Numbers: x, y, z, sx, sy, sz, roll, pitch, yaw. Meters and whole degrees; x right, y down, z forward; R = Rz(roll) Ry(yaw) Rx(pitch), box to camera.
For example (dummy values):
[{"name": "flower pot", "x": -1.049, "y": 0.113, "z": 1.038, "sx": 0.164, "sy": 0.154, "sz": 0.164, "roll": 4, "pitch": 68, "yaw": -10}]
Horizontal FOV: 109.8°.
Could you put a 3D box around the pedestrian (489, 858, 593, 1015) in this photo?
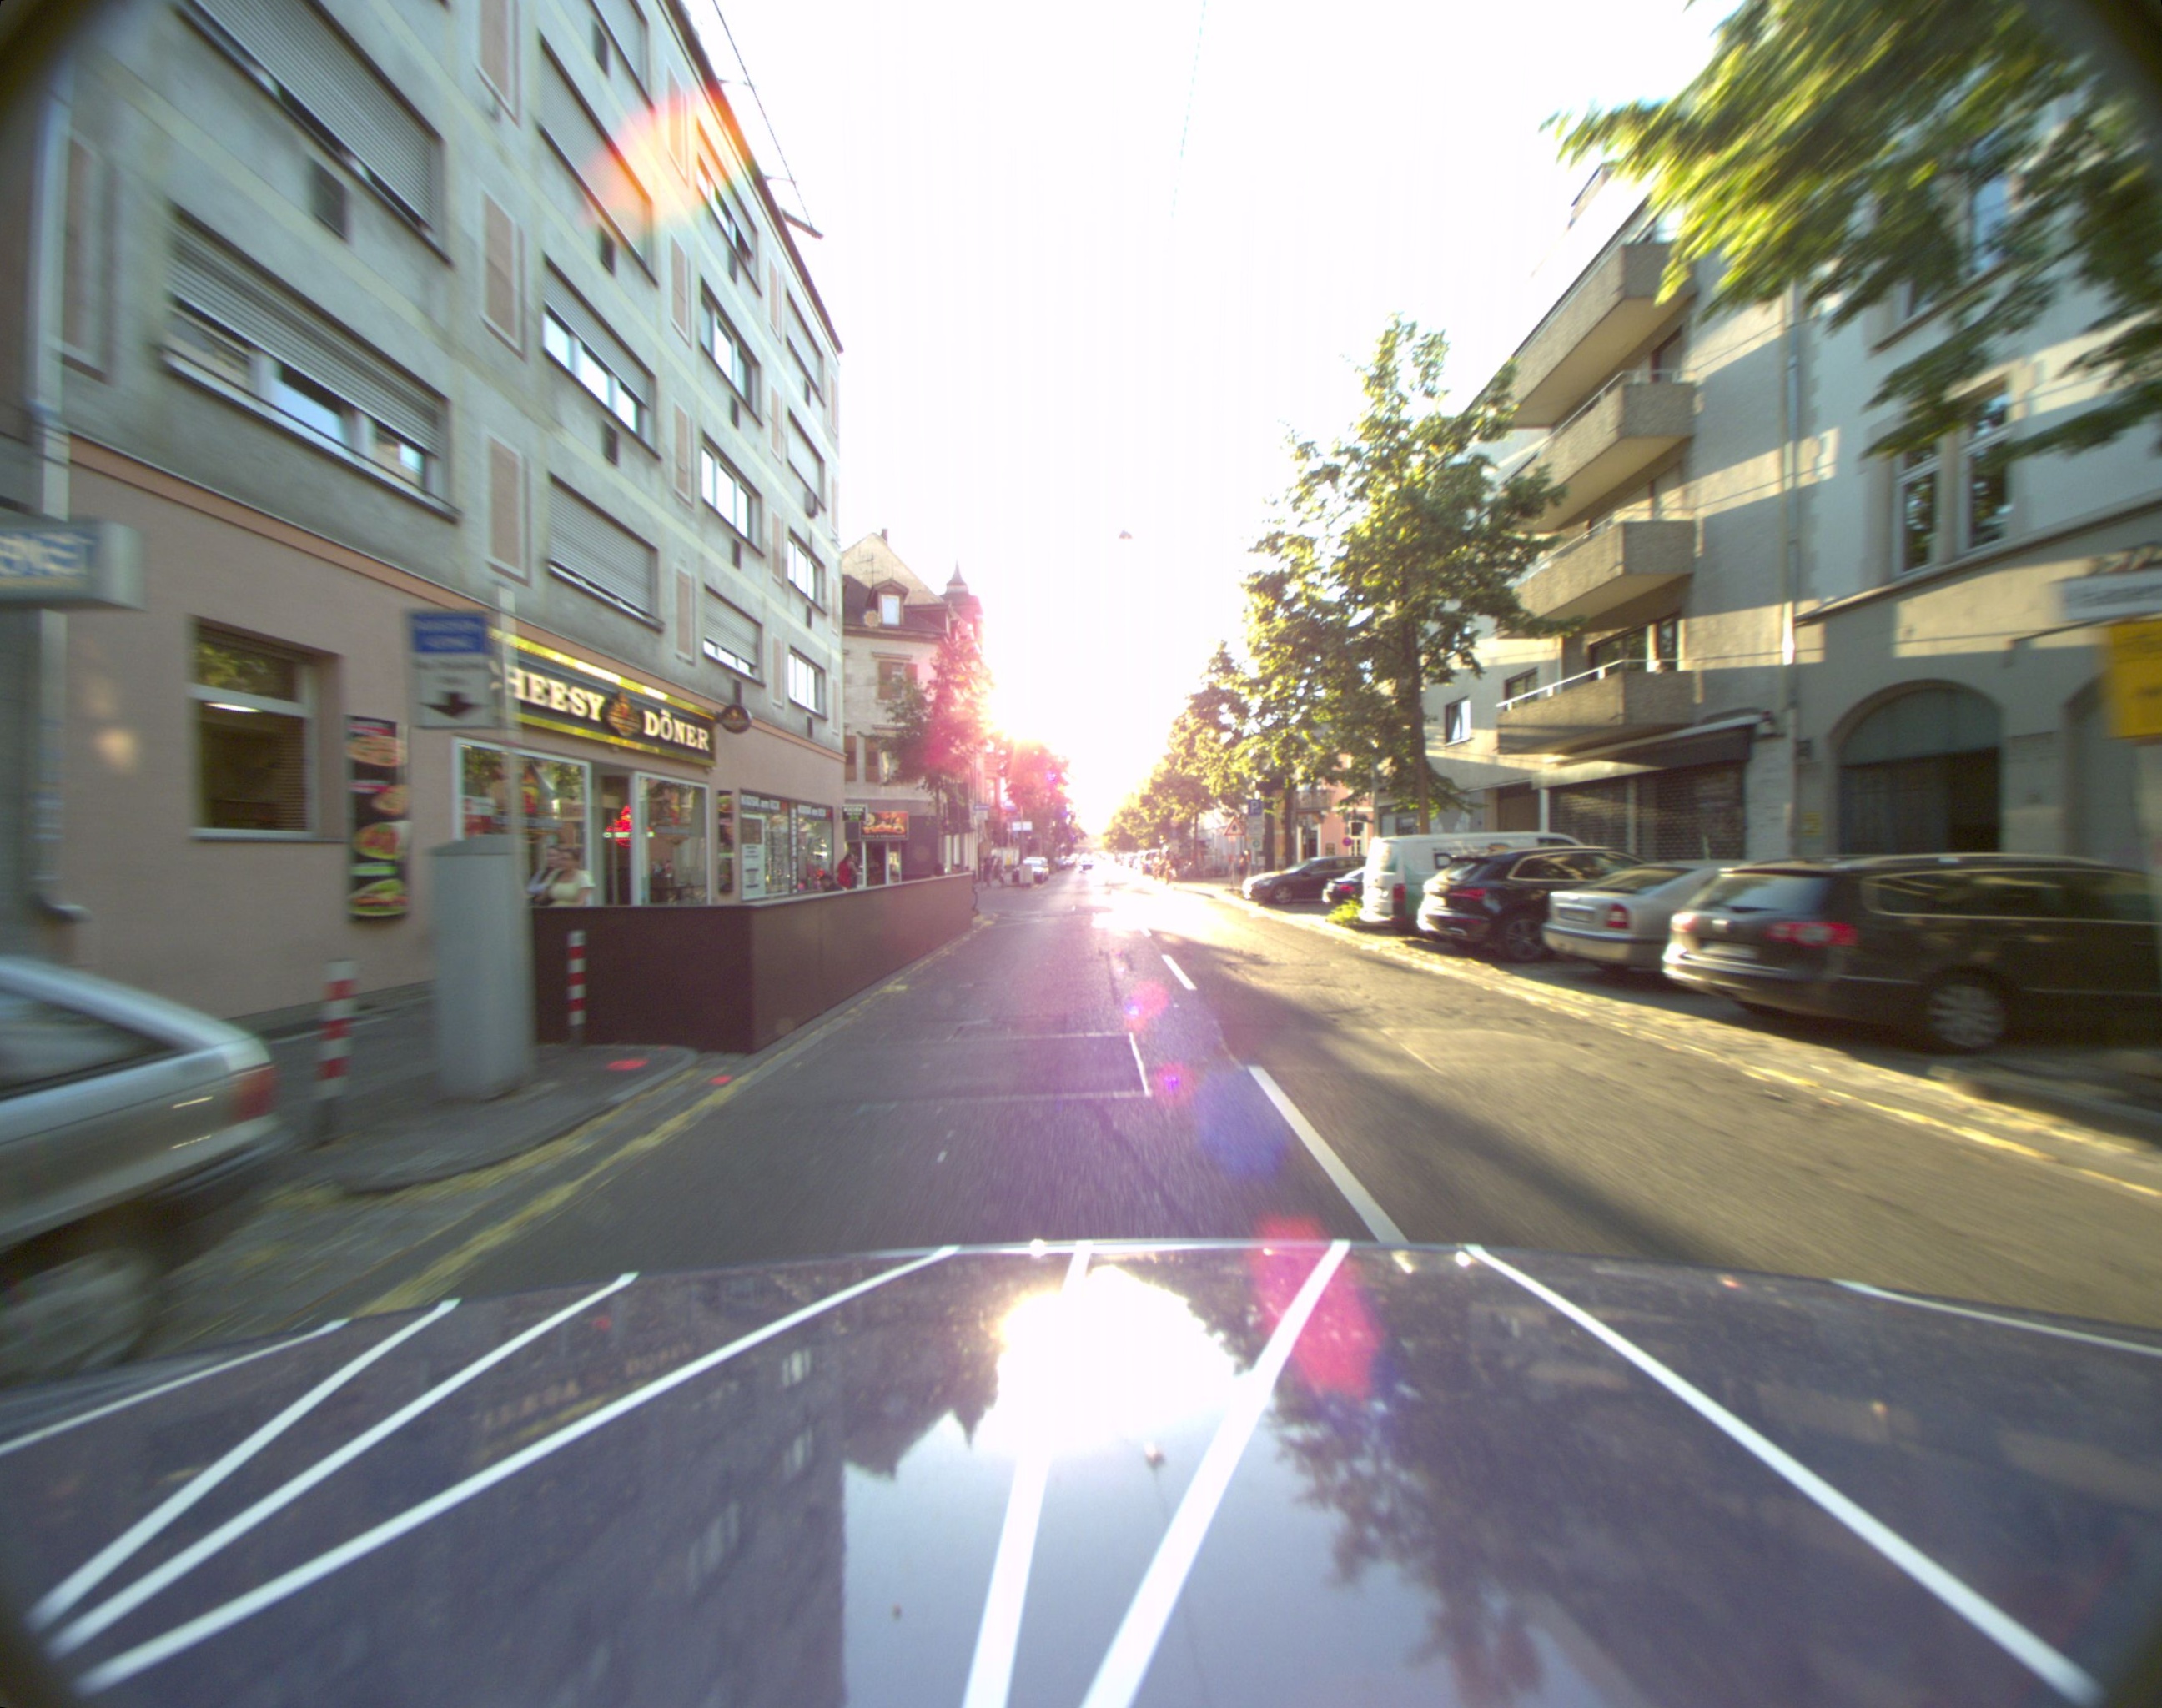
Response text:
[{"name": "pedestrian", "x": -5.803, "y": 0.856, "z": 8.202, "sx": 0.607, "sy": 1.622, "sz": 0.668, "roll": -1, "pitch": 1, "yaw": 0}]

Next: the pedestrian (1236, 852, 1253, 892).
[{"name": "pedestrian", "x": 6.782, "y": 0.745, "z": 31.551, "sx": 0.550, "sy": 1.638, "sz": 0.721, "roll": -1, "pitch": 1, "yaw": 3}]

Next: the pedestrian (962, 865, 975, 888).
[{"name": "pedestrian", "x": -5.781, "y": 1.146, "z": 39.100, "sx": 0.551, "sy": 1.128, "sz": 0.648, "roll": 1, "pitch": 1, "yaw": 1}]

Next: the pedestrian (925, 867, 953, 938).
[{"name": "pedestrian", "x": -3.015, "y": 1.020, "z": 16.189, "sx": 0.448, "sy": 1.472, "sz": 0.547, "roll": 1, "pitch": 1, "yaw": 1}]

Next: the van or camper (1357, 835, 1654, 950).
[{"name": "van or camper", "x": 7.662, "y": 0.668, "z": 14.060, "sx": 4.469, "sy": 1.945, "sz": 1.789, "roll": -1, "pitch": 0, "yaw": 2}]

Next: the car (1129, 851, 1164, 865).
[{"name": "car", "x": 8.133, "y": 0.485, "z": 94.331, "sx": 4.152, "sy": 1.771, "sz": 1.826, "roll": -1, "pitch": 0, "yaw": 0}]

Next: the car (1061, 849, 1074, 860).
[{"name": "car", "x": -2.051, "y": 0.120, "z": 117.833, "sx": 1.825, "sy": 1.658, "sz": 4.155, "roll": -1, "pitch": 1, "yaw": 1}]

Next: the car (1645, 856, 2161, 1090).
[{"name": "car", "x": 7.439, "y": 0.865, "z": 6.289, "sx": 4.193, "sy": 1.528, "sz": 1.744, "roll": -2, "pitch": 1, "yaw": 2}]

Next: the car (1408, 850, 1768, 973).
[{"name": "car", "x": 7.369, "y": 0.799, "z": 11.390, "sx": 4.193, "sy": 1.659, "sz": 1.732, "roll": -1, "pitch": 1, "yaw": 3}]

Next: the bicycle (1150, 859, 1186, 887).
[{"name": "bicycle", "x": 4.302, "y": 0.944, "z": 37.660, "sx": 1.832, "sy": 1.335, "sz": 0.405, "roll": -1, "pitch": 1, "yaw": -25}]

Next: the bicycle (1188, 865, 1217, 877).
[{"name": "bicycle", "x": 7.930, "y": 1.111, "z": 49.596, "sx": 1.796, "sy": 0.761, "sz": 0.408, "roll": -1, "pitch": 1, "yaw": 13}]

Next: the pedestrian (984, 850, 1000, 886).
[{"name": "pedestrian", "x": -4.785, "y": 0.752, "z": 40.815, "sx": 0.719, "sy": 1.864, "sz": 0.756, "roll": 1, "pitch": 1, "yaw": 1}]

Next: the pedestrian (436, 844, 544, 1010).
[{"name": "pedestrian", "x": -6.424, "y": 0.765, "z": 8.291, "sx": 0.607, "sy": 1.728, "sz": 0.668, "roll": -1, "pitch": 1, "yaw": 0}]

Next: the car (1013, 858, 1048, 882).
[{"name": "car", "x": -3.090, "y": 0.979, "z": 47.301, "sx": 1.825, "sy": 1.344, "sz": 4.155, "roll": -1, "pitch": 1, "yaw": 1}]

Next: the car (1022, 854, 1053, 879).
[{"name": "car", "x": -3.050, "y": 0.859, "z": 54.069, "sx": 1.825, "sy": 1.658, "sz": 4.155, "roll": -1, "pitch": 1, "yaw": 1}]

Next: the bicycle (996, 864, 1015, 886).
[{"name": "bicycle", "x": -3.979, "y": 1.104, "z": 40.088, "sx": 0.478, "sy": 1.101, "sz": 2.062, "roll": -1, "pitch": 0, "yaw": 8}]

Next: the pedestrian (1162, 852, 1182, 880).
[{"name": "pedestrian", "x": 5.616, "y": 0.722, "z": 46.833, "sx": 0.898, "sy": 1.671, "sz": 0.795, "roll": -1, "pitch": 1, "yaw": -36}]

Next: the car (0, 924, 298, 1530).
[{"name": "car", "x": -3.767, "y": 0.989, "z": 0.693, "sx": 1.830, "sy": 1.465, "sz": 3.991, "roll": 3, "pitch": 0, "yaw": 3}]

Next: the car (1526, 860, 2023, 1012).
[{"name": "car", "x": 7.804, "y": 0.876, "z": 8.855, "sx": 4.193, "sy": 1.434, "sz": 1.732, "roll": -2, "pitch": 1, "yaw": 1}]

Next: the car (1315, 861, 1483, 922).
[{"name": "car", "x": 7.884, "y": 0.913, "z": 19.026, "sx": 3.582, "sy": 1.405, "sz": 1.512, "roll": -1, "pitch": 1, "yaw": 3}]

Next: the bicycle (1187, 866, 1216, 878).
[{"name": "bicycle", "x": 7.723, "y": 1.140, "z": 48.510, "sx": 1.796, "sy": 0.761, "sz": 0.408, "roll": -1, "pitch": 1, "yaw": 13}]

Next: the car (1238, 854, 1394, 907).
[{"name": "car", "x": 7.478, "y": 0.824, "z": 24.483, "sx": 4.439, "sy": 1.516, "sz": 1.814, "roll": -1, "pitch": 0, "yaw": 0}]

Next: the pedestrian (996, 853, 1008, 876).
[{"name": "pedestrian", "x": -5.717, "y": 0.750, "z": 54.804, "sx": 0.719, "sy": 1.565, "sz": 0.756, "roll": 1, "pitch": 1, "yaw": 1}]

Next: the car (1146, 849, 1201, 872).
[{"name": "car", "x": 7.980, "y": 0.554, "z": 65.676, "sx": 4.439, "sy": 1.832, "sz": 1.814, "roll": -1, "pitch": 0, "yaw": 0}]

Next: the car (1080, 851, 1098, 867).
[{"name": "car", "x": 0.862, "y": 0.489, "z": 77.943, "sx": 1.825, "sy": 1.469, "sz": 4.155, "roll": -1, "pitch": 1, "yaw": 1}]

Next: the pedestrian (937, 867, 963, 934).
[{"name": "pedestrian", "x": -2.957, "y": 1.039, "z": 17.125, "sx": 0.448, "sy": 1.472, "sz": 0.563, "roll": 1, "pitch": 1, "yaw": 1}]

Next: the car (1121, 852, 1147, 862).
[{"name": "car", "x": 8.687, "y": 0.496, "z": 124.583, "sx": 4.151, "sy": 1.469, "sz": 1.827, "roll": -1, "pitch": 0, "yaw": 1}]

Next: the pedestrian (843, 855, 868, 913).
[{"name": "pedestrian", "x": -6.377, "y": 0.847, "z": 21.522, "sx": 0.493, "sy": 1.614, "sz": 0.573, "roll": 1, "pitch": 1, "yaw": 1}]

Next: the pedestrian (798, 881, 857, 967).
[{"name": "pedestrian", "x": -4.051, "y": 1.105, "z": 12.173, "sx": 0.687, "sy": 1.298, "sz": 0.648, "roll": 1, "pitch": 1, "yaw": 2}]

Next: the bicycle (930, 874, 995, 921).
[{"name": "bicycle", "x": -3.264, "y": 1.170, "z": 20.810, "sx": 2.055, "sy": 1.208, "sz": 0.479, "roll": 0, "pitch": 1, "yaw": 37}]

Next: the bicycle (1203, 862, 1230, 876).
[{"name": "bicycle", "x": 9.144, "y": 0.999, "z": 51.308, "sx": 1.801, "sy": 0.858, "sz": 0.444, "roll": -1, "pitch": 1, "yaw": -24}]

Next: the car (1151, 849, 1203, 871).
[{"name": "car", "x": 8.614, "y": 0.500, "z": 68.673, "sx": 4.439, "sy": 1.832, "sz": 1.814, "roll": -1, "pitch": 0, "yaw": 0}]

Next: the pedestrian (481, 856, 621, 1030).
[{"name": "pedestrian", "x": -5.219, "y": 0.837, "z": 7.543, "sx": 0.748, "sy": 1.622, "sz": 0.855, "roll": -1, "pitch": 1, "yaw": 0}]

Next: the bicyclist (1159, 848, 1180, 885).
[{"name": "bicyclist", "x": 4.385, "y": 0.606, "z": 37.674, "sx": 0.873, "sy": 1.783, "sz": 0.536, "roll": -1, "pitch": 1, "yaw": -24}]

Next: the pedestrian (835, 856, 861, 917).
[{"name": "pedestrian", "x": -6.295, "y": 0.859, "z": 20.561, "sx": 0.493, "sy": 1.614, "sz": 0.573, "roll": 1, "pitch": 1, "yaw": 1}]

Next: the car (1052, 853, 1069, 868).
[{"name": "car", "x": -2.466, "y": 0.774, "z": 92.917, "sx": 1.825, "sy": 1.658, "sz": 4.155, "roll": -1, "pitch": 1, "yaw": 1}]

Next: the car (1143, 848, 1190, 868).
[{"name": "car", "x": 8.532, "y": 0.420, "z": 76.086, "sx": 4.439, "sy": 1.832, "sz": 1.814, "roll": -1, "pitch": 0, "yaw": 0}]
